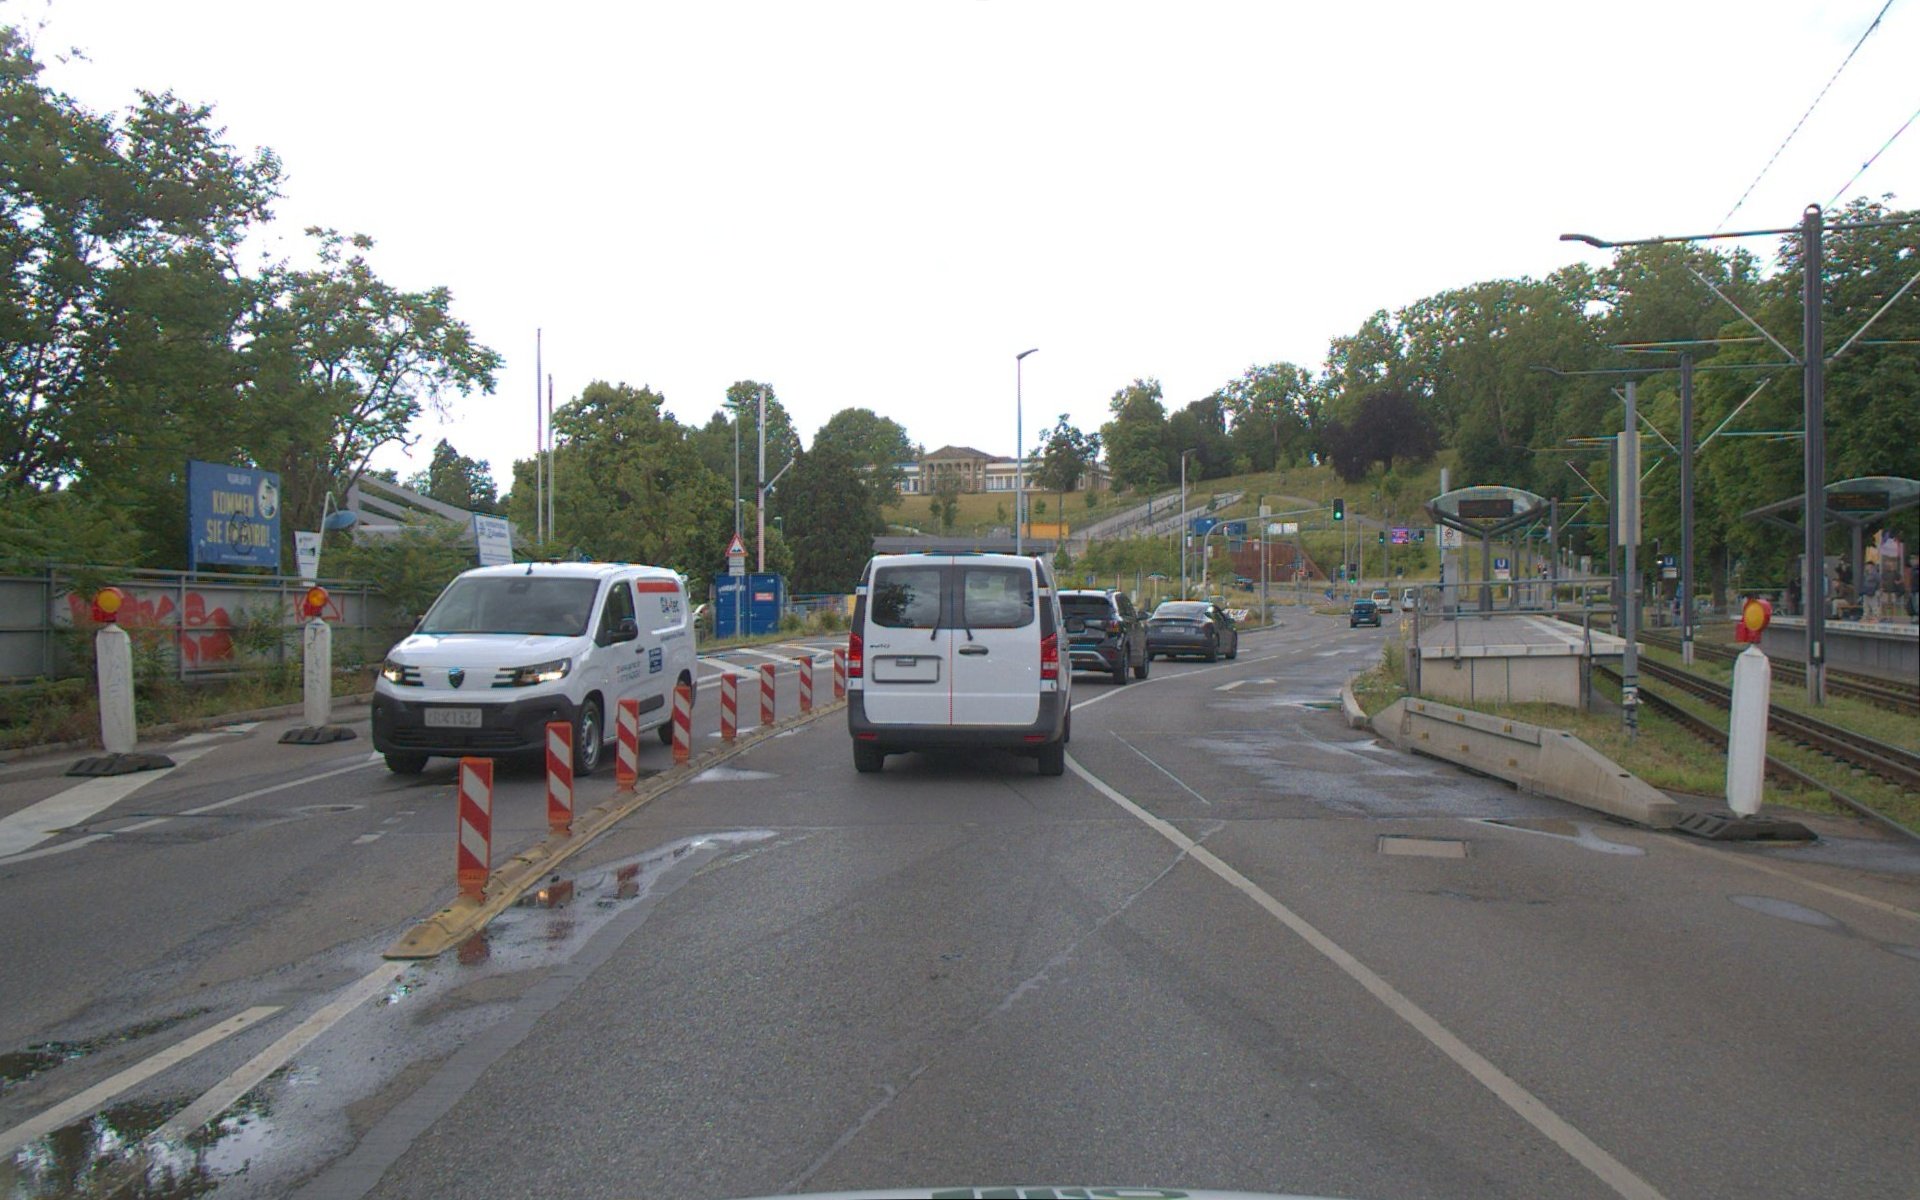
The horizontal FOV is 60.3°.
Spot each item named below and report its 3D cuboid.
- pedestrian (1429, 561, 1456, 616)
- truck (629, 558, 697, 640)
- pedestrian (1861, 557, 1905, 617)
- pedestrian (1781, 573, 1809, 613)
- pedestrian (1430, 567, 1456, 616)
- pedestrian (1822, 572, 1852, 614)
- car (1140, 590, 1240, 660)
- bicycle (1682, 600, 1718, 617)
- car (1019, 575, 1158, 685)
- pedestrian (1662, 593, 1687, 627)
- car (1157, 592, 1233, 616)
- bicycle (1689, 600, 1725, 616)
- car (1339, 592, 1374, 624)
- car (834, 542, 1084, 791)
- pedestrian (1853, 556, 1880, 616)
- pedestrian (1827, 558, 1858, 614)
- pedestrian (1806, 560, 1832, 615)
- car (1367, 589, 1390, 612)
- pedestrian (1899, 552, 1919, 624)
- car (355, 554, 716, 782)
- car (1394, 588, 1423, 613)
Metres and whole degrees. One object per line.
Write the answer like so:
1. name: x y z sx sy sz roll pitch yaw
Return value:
1. pedestrian: 15.580 -0.373 53.447 0.754 1.729 0.732 2 2 19
2. truck: -13.320 -0.078 74.316 2.742 3.394 8.459 -2 1 -10
3. pedestrian: 26.556 -0.375 47.581 0.842 1.706 0.762 2 0 8
4. pedestrian: 28.844 -0.255 57.145 0.659 1.346 0.968 2 0 16
5. pedestrian: 15.864 -0.278 54.274 0.735 1.580 0.775 2 2 19
6. pedestrian: 25.592 -0.205 48.264 0.644 1.212 0.676 2 0 19
7. car: 5.762 0.594 41.059 1.800 1.610 4.064 1 0 17
8. bicycle: 43.959 0.497 98.268 1.872 0.992 0.531 -1 0 18
9. car: 2.336 0.485 29.104 1.799 1.759 4.065 1 0 13
10. pedestrian: 34.820 0.496 80.634 0.816 1.637 0.777 -1 -1 -4
11. car: 15.738 0.280 110.592 4.619 1.503 1.998 -1 1 28
12. bicycle: 43.865 0.460 97.126 1.872 0.911 0.531 -1 0 18
13. car: 23.861 0.480 99.570 1.951 1.803 4.003 2 0 13
14. car: 0.152 0.519 15.465 1.918 1.937 4.464 1 0 5
15. pedestrian: 25.545 -0.392 46.618 0.513 1.648 0.676 2 0 19
16. pedestrian: 27.553 -0.438 51.641 0.659 1.706 0.677 2 0 15
17. pedestrian: 26.887 -0.393 51.778 0.532 1.706 0.676 2 0 14
18. car: 34.465 0.040 136.136 1.715 1.803 4.003 2 0 13
19. pedestrian: 25.244 -0.295 43.626 0.619 1.870 0.950 2 0 19
20. car: -3.749 0.501 15.600 1.824 1.813 4.751 0 1 5
21. car: 37.657 0.023 139.030 2.154 2.049 5.155 1 0 13
